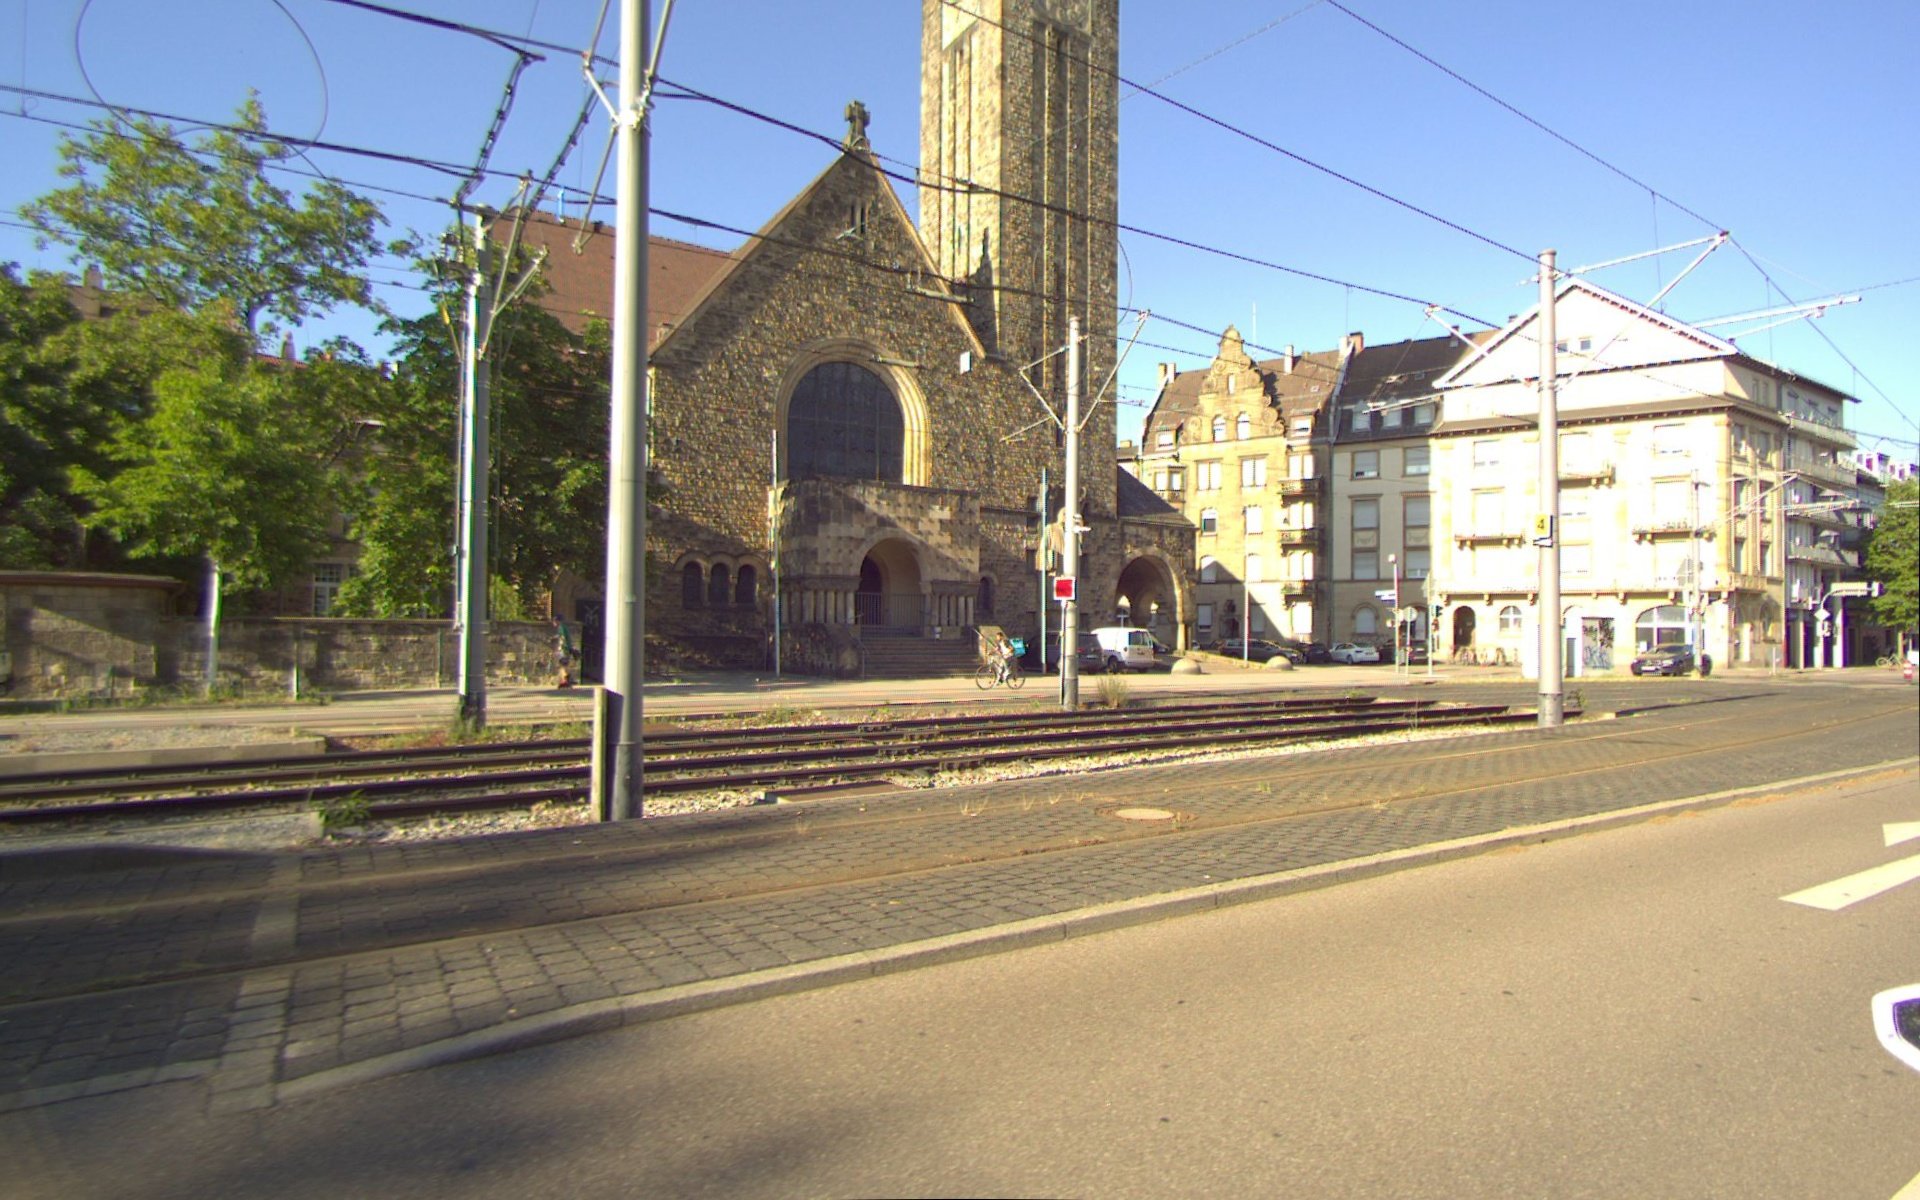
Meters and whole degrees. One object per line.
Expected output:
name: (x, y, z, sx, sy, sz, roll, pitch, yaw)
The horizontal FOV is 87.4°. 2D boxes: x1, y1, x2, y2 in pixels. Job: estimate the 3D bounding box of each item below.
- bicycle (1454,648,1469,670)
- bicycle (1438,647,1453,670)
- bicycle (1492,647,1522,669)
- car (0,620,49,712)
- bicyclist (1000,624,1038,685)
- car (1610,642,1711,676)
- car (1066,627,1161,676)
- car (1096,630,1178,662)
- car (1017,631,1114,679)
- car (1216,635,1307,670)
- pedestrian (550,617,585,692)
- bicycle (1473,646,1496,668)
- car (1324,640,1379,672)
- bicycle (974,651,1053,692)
bicycle: (31.656, 3.713, 63.449, 0.809, 1.300, 2.562, 2, 0, 26)
bicycle: (30.861, 3.700, 63.864, 0.809, 1.300, 2.562, 2, 0, 26)
bicycle: (33.898, 3.574, 62.218, 2.545, 1.300, 0.814, 2, 0, -41)
car: (-19.364, 1.155, 17.808, 4.458, 1.576, 1.707, 2, 0, -31)
bicyclist: (1.703, 1.581, 29.266, 0.903, 1.745, 0.629, 1, -4, -26)
car: (31.055, 2.595, 44.505, 4.787, 1.468, 1.983, 2, -3, -33)
car: (6.400, 2.127, 42.219, 1.872, 1.780, 3.968, 2, 0, -30)
car: (11.401, 2.903, 64.792, 4.686, 1.776, 2.149, 2, 0, 33)
car: (4.186, 2.162, 40.362, 1.872, 1.651, 3.968, 2, 0, -30)
car: (18.098, 3.126, 60.326, 4.851, 1.776, 1.996, 2, 0, 31)
pedestrian: (-10.269, 1.407, 26.275, 0.748, 1.913, 0.602, 1, 0, -30)
bicycle: (32.635, 3.533, 62.502, 0.811, 1.300, 2.554, 2, 0, 38)
car: (26.130, 3.721, 67.161, 1.960, 1.776, 4.599, 2, 0, 2)
bicycle: (1.563, 2.073, 29.169, 2.249, 1.159, 0.629, 1, -4, -26)
